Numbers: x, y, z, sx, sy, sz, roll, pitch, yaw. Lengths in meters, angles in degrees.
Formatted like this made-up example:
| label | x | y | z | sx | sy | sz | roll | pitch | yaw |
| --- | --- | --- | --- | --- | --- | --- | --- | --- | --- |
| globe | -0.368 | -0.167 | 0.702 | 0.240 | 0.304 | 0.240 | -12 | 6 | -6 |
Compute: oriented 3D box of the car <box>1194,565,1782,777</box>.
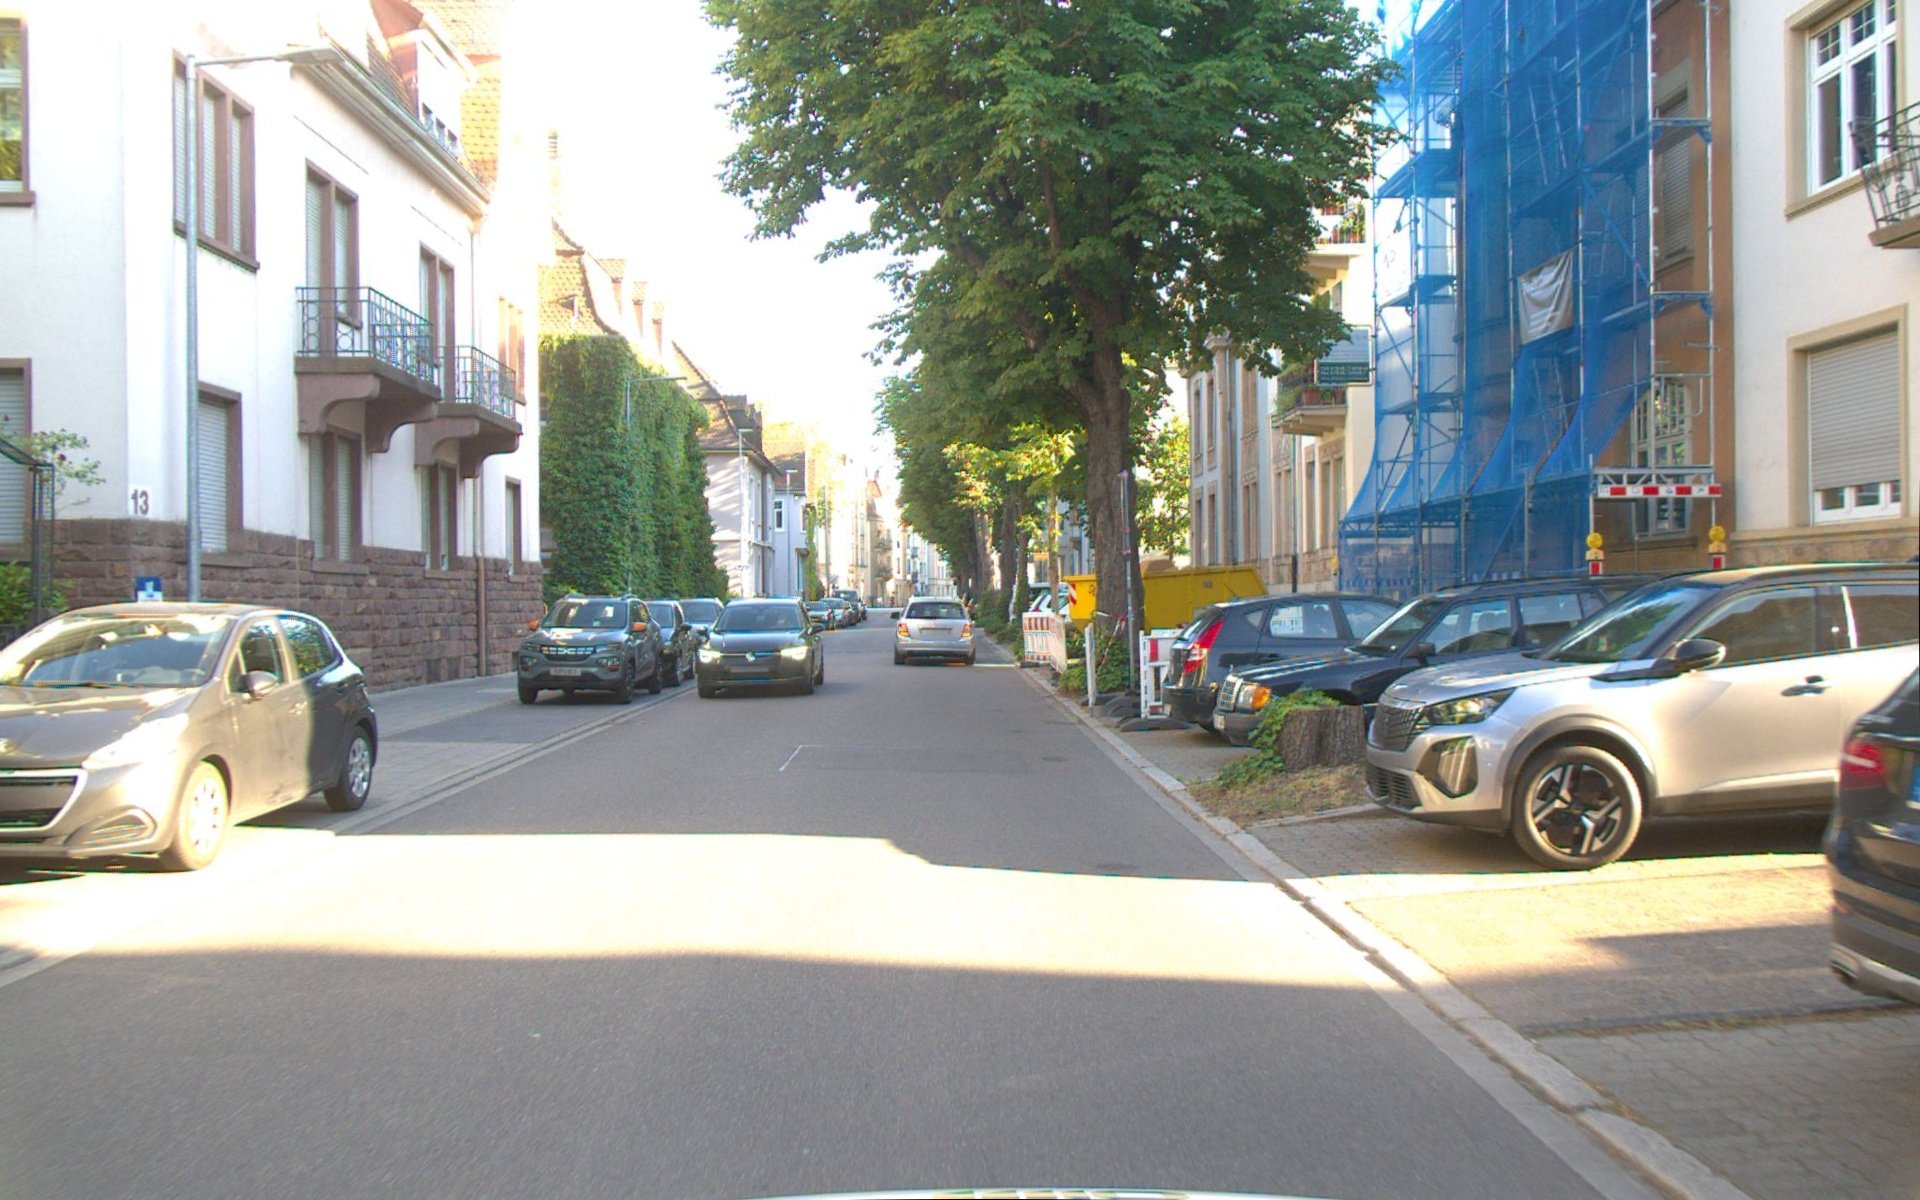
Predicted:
| label | x | y | z | sx | sy | sz | roll | pitch | yaw |
| --- | --- | --- | --- | --- | --- | --- | --- | --- | --- |
| car | 4.575 | 0.593 | 14.819 | 4.623 | 1.562 | 1.850 | -3 | 0 | -1 |

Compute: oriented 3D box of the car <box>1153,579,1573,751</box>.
| label | x | y | z | sx | sy | sz | roll | pitch | yaw |
| --- | --- | --- | --- | --- | --- | --- | --- | --- | --- |
| car | 4.100 | 0.644 | 17.329 | 3.905 | 1.518 | 1.851 | -3 | 0 | 0 |

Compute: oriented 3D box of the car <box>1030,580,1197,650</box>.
| label | x | y | z | sx | sy | sz | roll | pitch | yaw |
| --- | --- | --- | --- | --- | --- | --- | --- | --- | --- |
| car | 3.849 | 0.358 | 41.955 | 4.059 | 1.561 | 1.687 | -3 | 0 | 0 |

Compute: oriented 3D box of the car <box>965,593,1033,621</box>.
| label | x | y | z | sx | sy | sz | roll | pitch | yaw |
| --- | --- | --- | --- | --- | --- | --- | --- | --- | --- |
| car | 2.406 | 0.417 | 102.578 | 4.104 | 1.501 | 1.852 | -3 | 0 | 1 |

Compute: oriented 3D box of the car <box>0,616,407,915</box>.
| label | x | y | z | sx | sy | sz | roll | pitch | yaw |
| --- | --- | --- | --- | --- | --- | --- | --- | --- | --- |
| car | -4.964 | 0.871 | 10.492 | 1.620 | 1.472 | 4.004 | 0 | 0 | -1 |

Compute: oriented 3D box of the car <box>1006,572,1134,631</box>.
| label | x | y | z | sx | sy | sz | roll | pitch | yaw |
| --- | --- | --- | --- | --- | --- | --- | --- | --- | --- |
| car | 3.821 | 0.041 | 57.977 | 4.227 | 1.838 | 1.999 | -3 | 0 | -2 |

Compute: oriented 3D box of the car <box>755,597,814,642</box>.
| label | x | y | z | sx | sy | sz | roll | pitch | yaw |
| --- | --- | --- | --- | --- | --- | --- | --- | --- | --- |
| car | -6.153 | 0.662 | 58.383 | 1.669 | 1.486 | 3.917 | 0 | 0 | 0 |

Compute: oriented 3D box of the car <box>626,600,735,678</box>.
| label | x | y | z | sx | sy | sz | roll | pitch | yaw |
| --- | --- | --- | --- | --- | --- | --- | --- | --- | --- |
| car | -5.775 | 0.768 | 34.628 | 1.757 | 1.487 | 4.774 | 0 | 0 | -4 |

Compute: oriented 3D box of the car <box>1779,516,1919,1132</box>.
| label | x | y | z | sx | sy | sz | roll | pitch | yaw |
| --- | --- | --- | --- | --- | --- | --- | --- | --- | --- |
| car | 4.765 | 0.540 | 4.468 | 4.244 | 1.712 | 1.705 | -2 | 1 | -2 |

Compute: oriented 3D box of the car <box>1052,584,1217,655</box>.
| label | x | y | z | sx | sy | sz | roll | pitch | yaw |
| --- | --- | --- | --- | --- | --- | --- | --- | --- | --- |
| car | 4.122 | 0.455 | 39.385 | 3.771 | 1.488 | 1.687 | -3 | 0 | 3 |

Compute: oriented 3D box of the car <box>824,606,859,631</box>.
| label | x | y | z | sx | sy | sz | roll | pitch | yaw |
| --- | --- | --- | --- | --- | --- | --- | --- | --- | --- |
| car | -6.432 | 0.986 | 89.937 | 1.499 | 1.342 | 4.227 | 0 | 0 | 1 |

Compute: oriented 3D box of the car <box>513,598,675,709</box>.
| label | x | y | z | sx | sy | sz | roll | pitch | yaw |
| --- | --- | --- | --- | --- | --- | --- | --- | --- | --- |
| car | -5.350 | 0.728 | 24.572 | 1.620 | 1.512 | 3.763 | 0 | 0 | -1 |

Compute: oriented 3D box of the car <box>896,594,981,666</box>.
| label | x | y | z | sx | sy | sz | roll | pitch | yaw |
| --- | --- | --- | --- | --- | --- | --- | --- | --- | --- |
| car | -0.471 | 0.634 | 35.972 | 1.747 | 1.462 | 3.850 | 0 | -1 | -1 |

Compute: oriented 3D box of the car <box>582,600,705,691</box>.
| label | x | y | z | sx | sy | sz | roll | pitch | yaw |
| --- | --- | --- | --- | --- | --- | --- | --- | --- | --- |
| car | -5.476 | 0.752 | 29.010 | 1.621 | 1.472 | 3.841 | 0 | 0 | -4 |

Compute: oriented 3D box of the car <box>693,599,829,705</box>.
| label | x | y | z | sx | sy | sz | roll | pitch | yaw |
| --- | --- | --- | --- | --- | --- | --- | --- | --- | --- |
| car | -3.082 | 0.764 | 26.290 | 1.736 | 1.474 | 3.999 | -2 | 0 | -2 |

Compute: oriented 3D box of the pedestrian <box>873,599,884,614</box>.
| label | x | y | z | sx | sy | sz | roll | pitch | yaw |
| --- | --- | --- | --- | --- | --- | --- | --- | --- | --- |
| pedestrian | -9.910 | 0.800 | 201.977 | 1.195 | 1.752 | 1.503 | 0 | 0 | 2 |

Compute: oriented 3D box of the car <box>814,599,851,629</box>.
| label | x | y | z | sx | sy | sz | roll | pitch | yaw |
| --- | --- | --- | --- | --- | --- | --- | --- | --- | --- |
| car | -6.513 | 0.686 | 84.817 | 1.620 | 1.471 | 3.959 | 0 | 0 | -1 |

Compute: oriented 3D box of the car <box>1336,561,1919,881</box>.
| label | x | y | z | sx | sy | sz | roll | pitch | yaw |
| --- | --- | --- | --- | --- | --- | --- | --- | --- | --- |
| car | 4.502 | 0.613 | 9.762 | 4.072 | 1.566 | 1.850 | -3 | 0 | -2 |

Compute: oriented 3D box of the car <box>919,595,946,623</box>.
| label | x | y | z | sx | sy | sz | roll | pitch | yaw |
| --- | --- | --- | --- | --- | --- | --- | --- | --- | --- |
| car | -1.668 | 0.534 | 100.970 | 1.590 | 1.597 | 3.680 | -1 | 0 | -1 |

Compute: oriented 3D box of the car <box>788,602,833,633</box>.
| label | x | y | z | sx | sy | sz | roll | pitch | yaw |
| --- | --- | --- | --- | --- | --- | --- | --- | --- | --- |
| car | -6.815 | 0.791 | 75.732 | 1.619 | 1.347 | 4.045 | 0 | 0 | 1 |
